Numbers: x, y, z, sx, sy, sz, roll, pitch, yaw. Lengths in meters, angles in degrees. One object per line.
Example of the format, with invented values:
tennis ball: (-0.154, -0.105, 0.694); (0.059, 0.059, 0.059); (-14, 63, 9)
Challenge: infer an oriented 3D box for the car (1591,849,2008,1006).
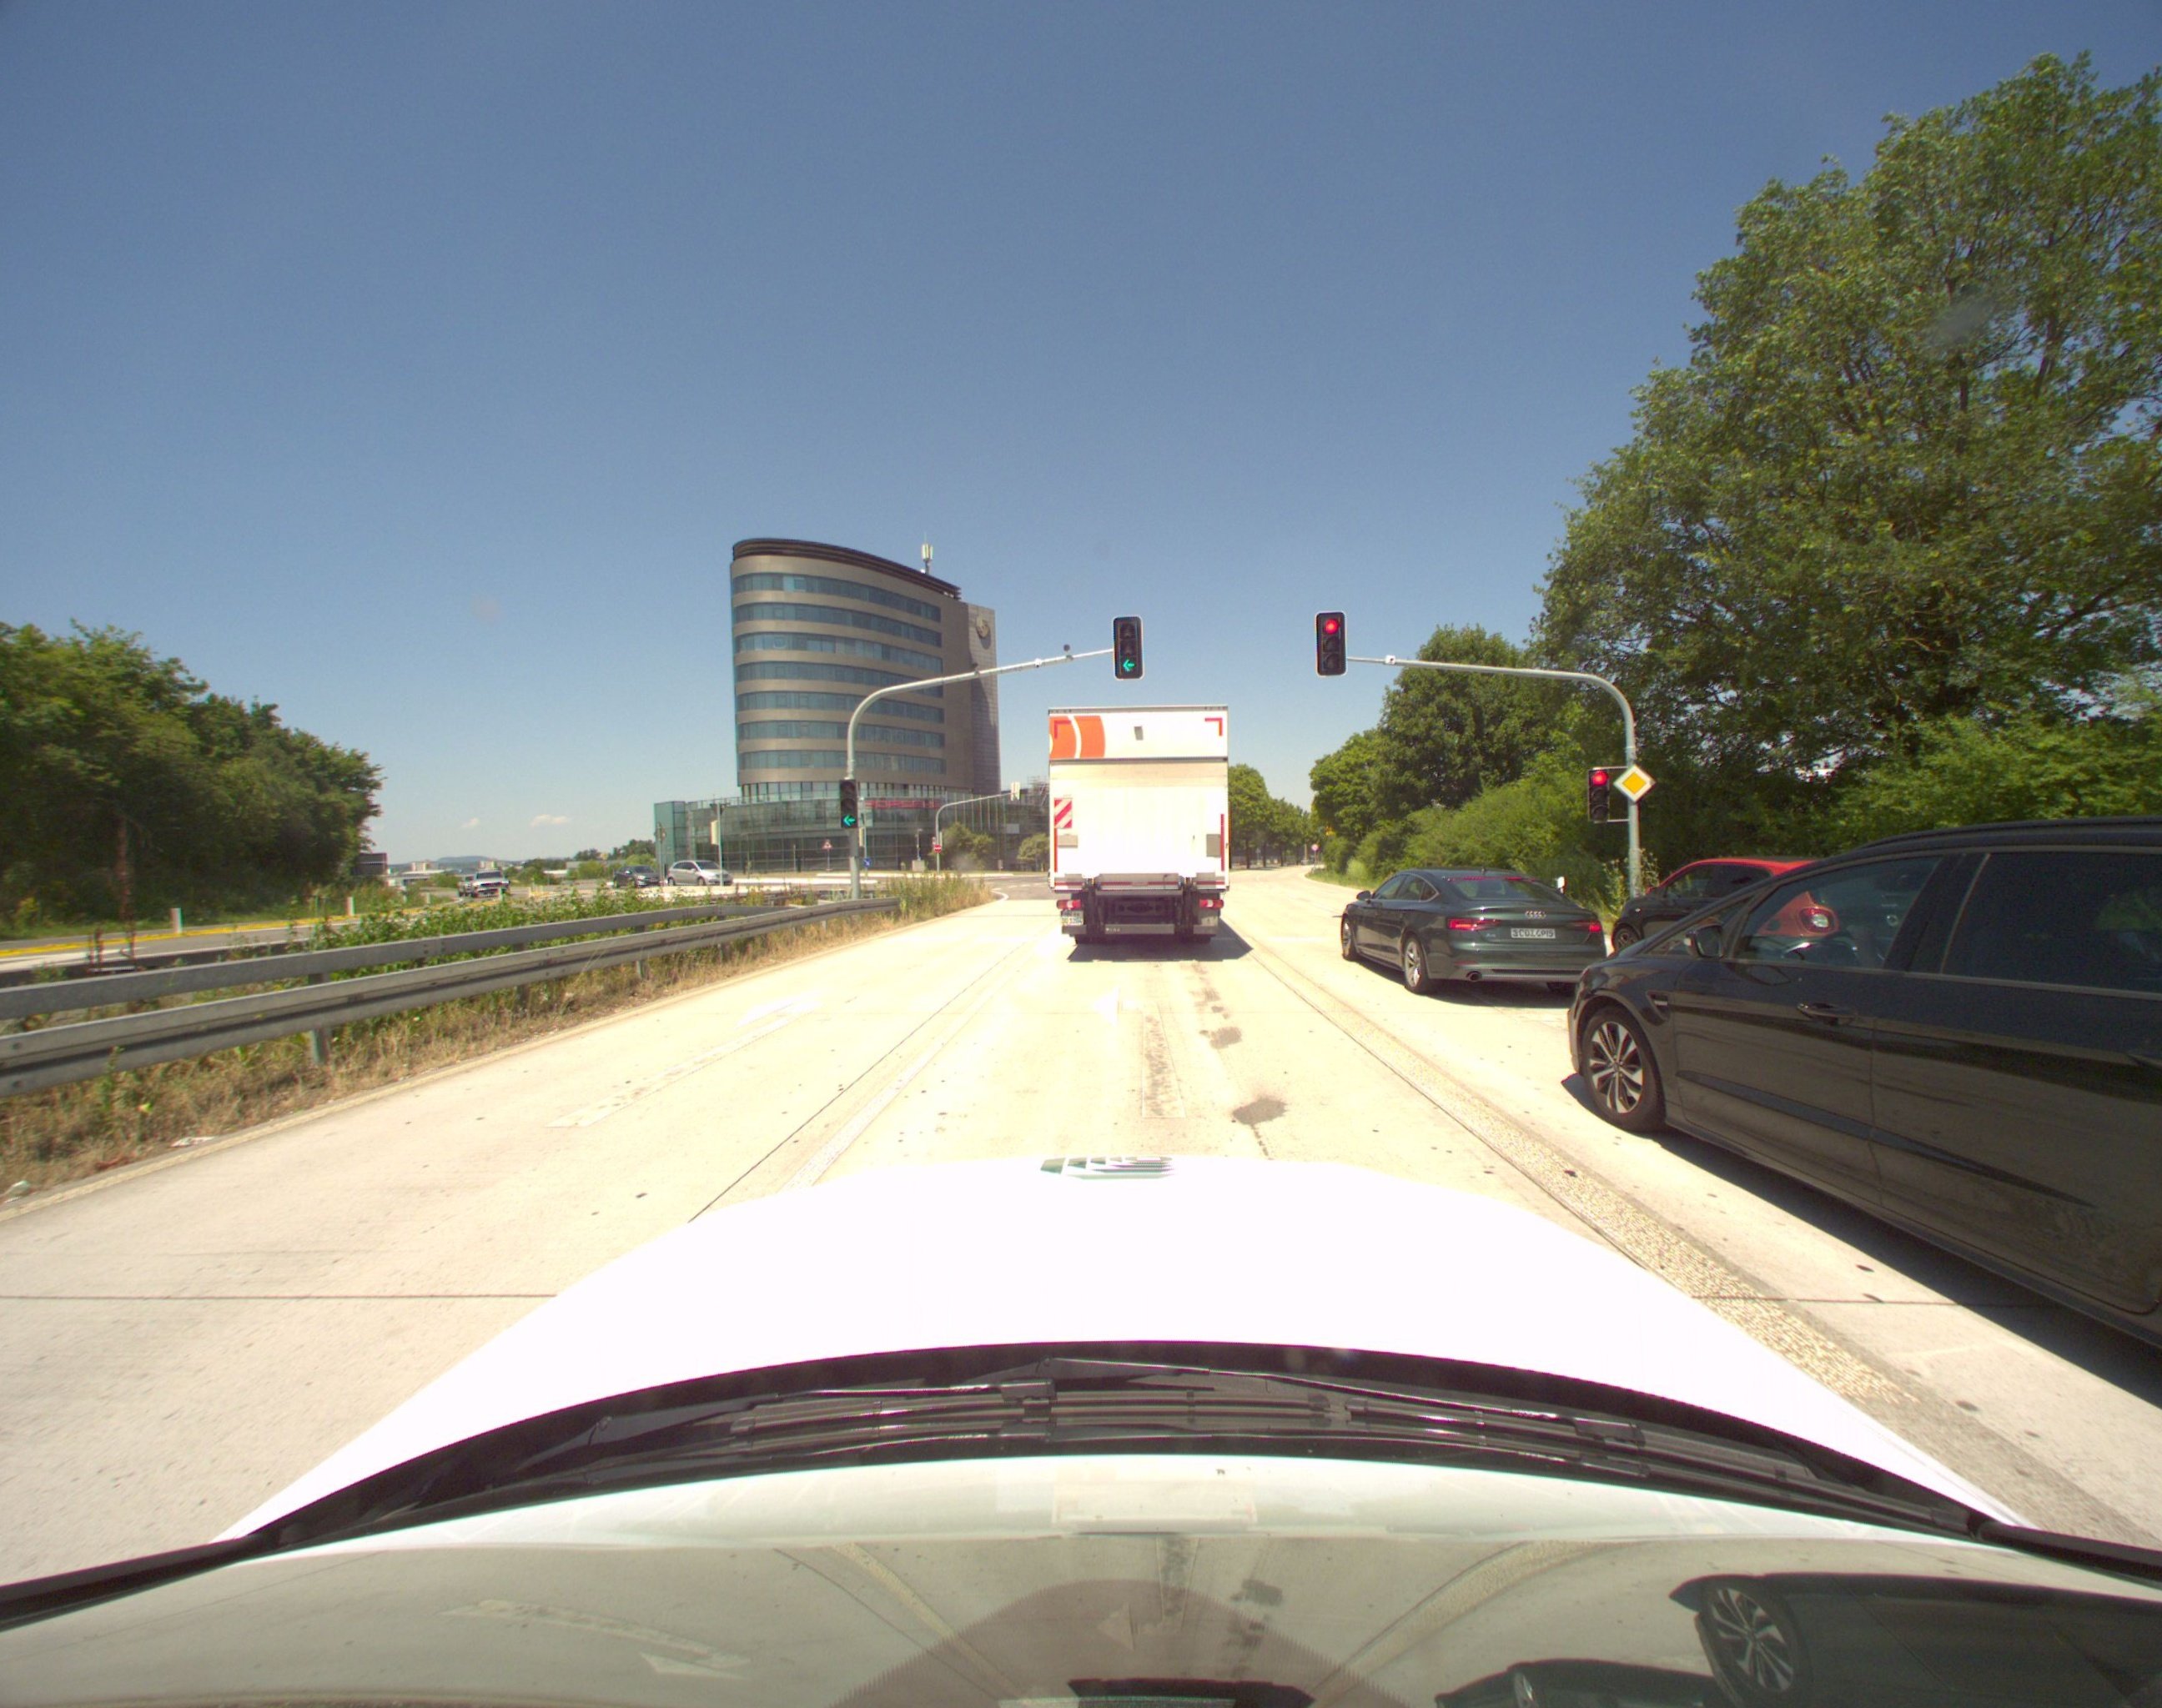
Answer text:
car: (8.119, 0.727, 9.727); (1.762, 1.509, 3.651); (0, -1, 0)

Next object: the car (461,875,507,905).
car: (-39.102, 2.308, 53.321); (2.011, 1.773, 4.799); (0, -1, -42)

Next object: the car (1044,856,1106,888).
car: (-0.376, 0.900, 42.025); (1.810, 1.557, 3.968); (0, -1, -24)

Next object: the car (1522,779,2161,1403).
car: (3.758, 0.629, 3.083); (1.777, 1.639, 4.649); (0, -1, 2)

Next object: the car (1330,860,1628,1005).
car: (4.581, 0.795, 10.257); (1.760, 1.410, 4.614); (0, -1, 4)

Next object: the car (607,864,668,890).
car: (-27.673, 1.434, 50.741); (4.273, 1.456, 1.708); (-3, -2, 37)

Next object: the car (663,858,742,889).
car: (-21.419, 1.114, 46.091); (4.274, 1.595, 1.787); (-3, -2, 28)

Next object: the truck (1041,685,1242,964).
truck: (1.193, -0.351, 16.032); (2.757, 3.860, 9.381); (-1, -1, 4)

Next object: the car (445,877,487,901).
car: (-47.560, 2.649, 62.953); (2.012, 1.692, 4.599); (0, -1, -45)
